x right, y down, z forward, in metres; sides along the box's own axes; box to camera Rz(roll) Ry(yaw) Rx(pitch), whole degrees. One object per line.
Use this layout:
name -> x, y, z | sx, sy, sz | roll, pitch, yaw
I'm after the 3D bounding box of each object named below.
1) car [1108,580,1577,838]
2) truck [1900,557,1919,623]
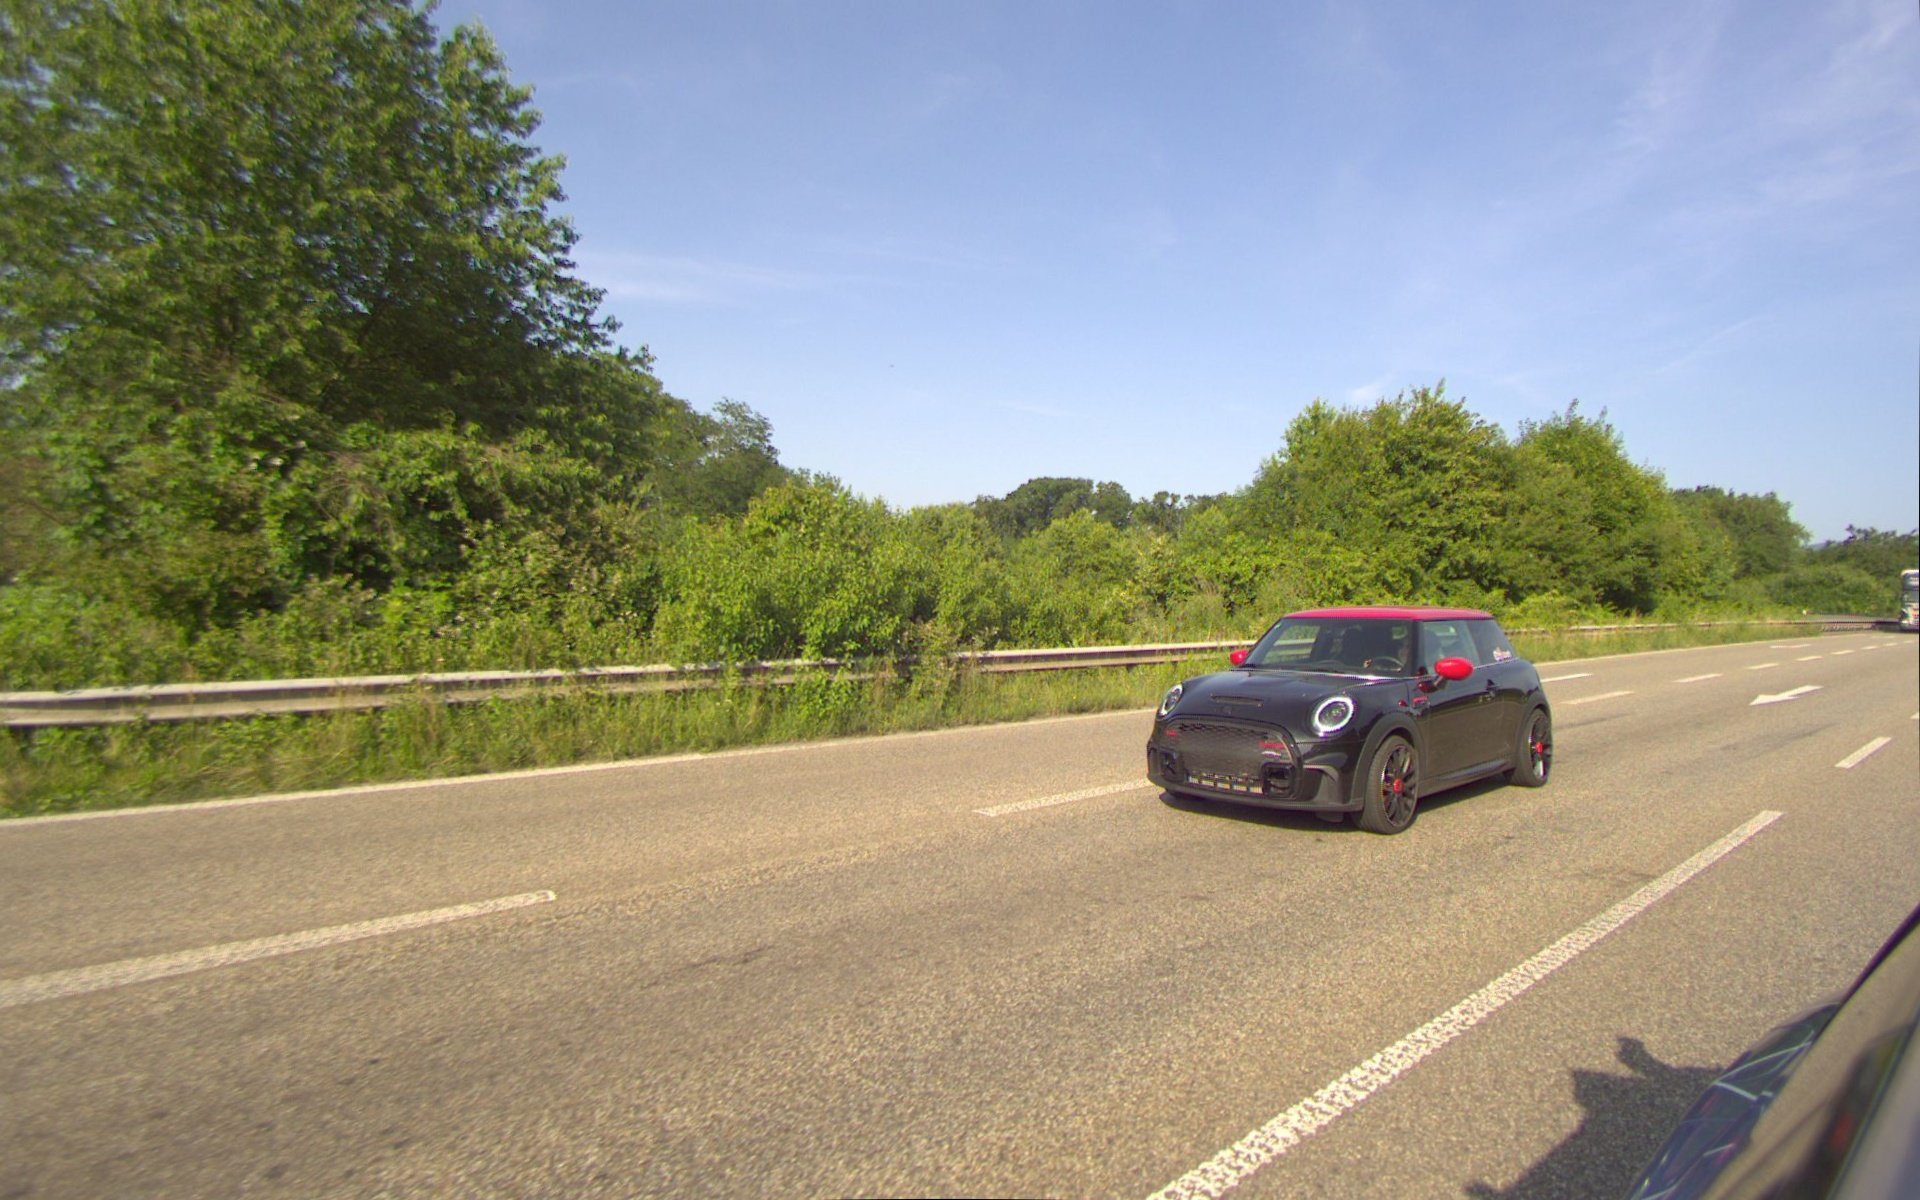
car -> 3.074, 0.610, 7.782 | 3.806, 1.486, 1.822 | 0, 0, -41
truck -> 65.143, -0.630, 66.793 | 14.312, 4.069, 3.193 | 0, 0, -42
